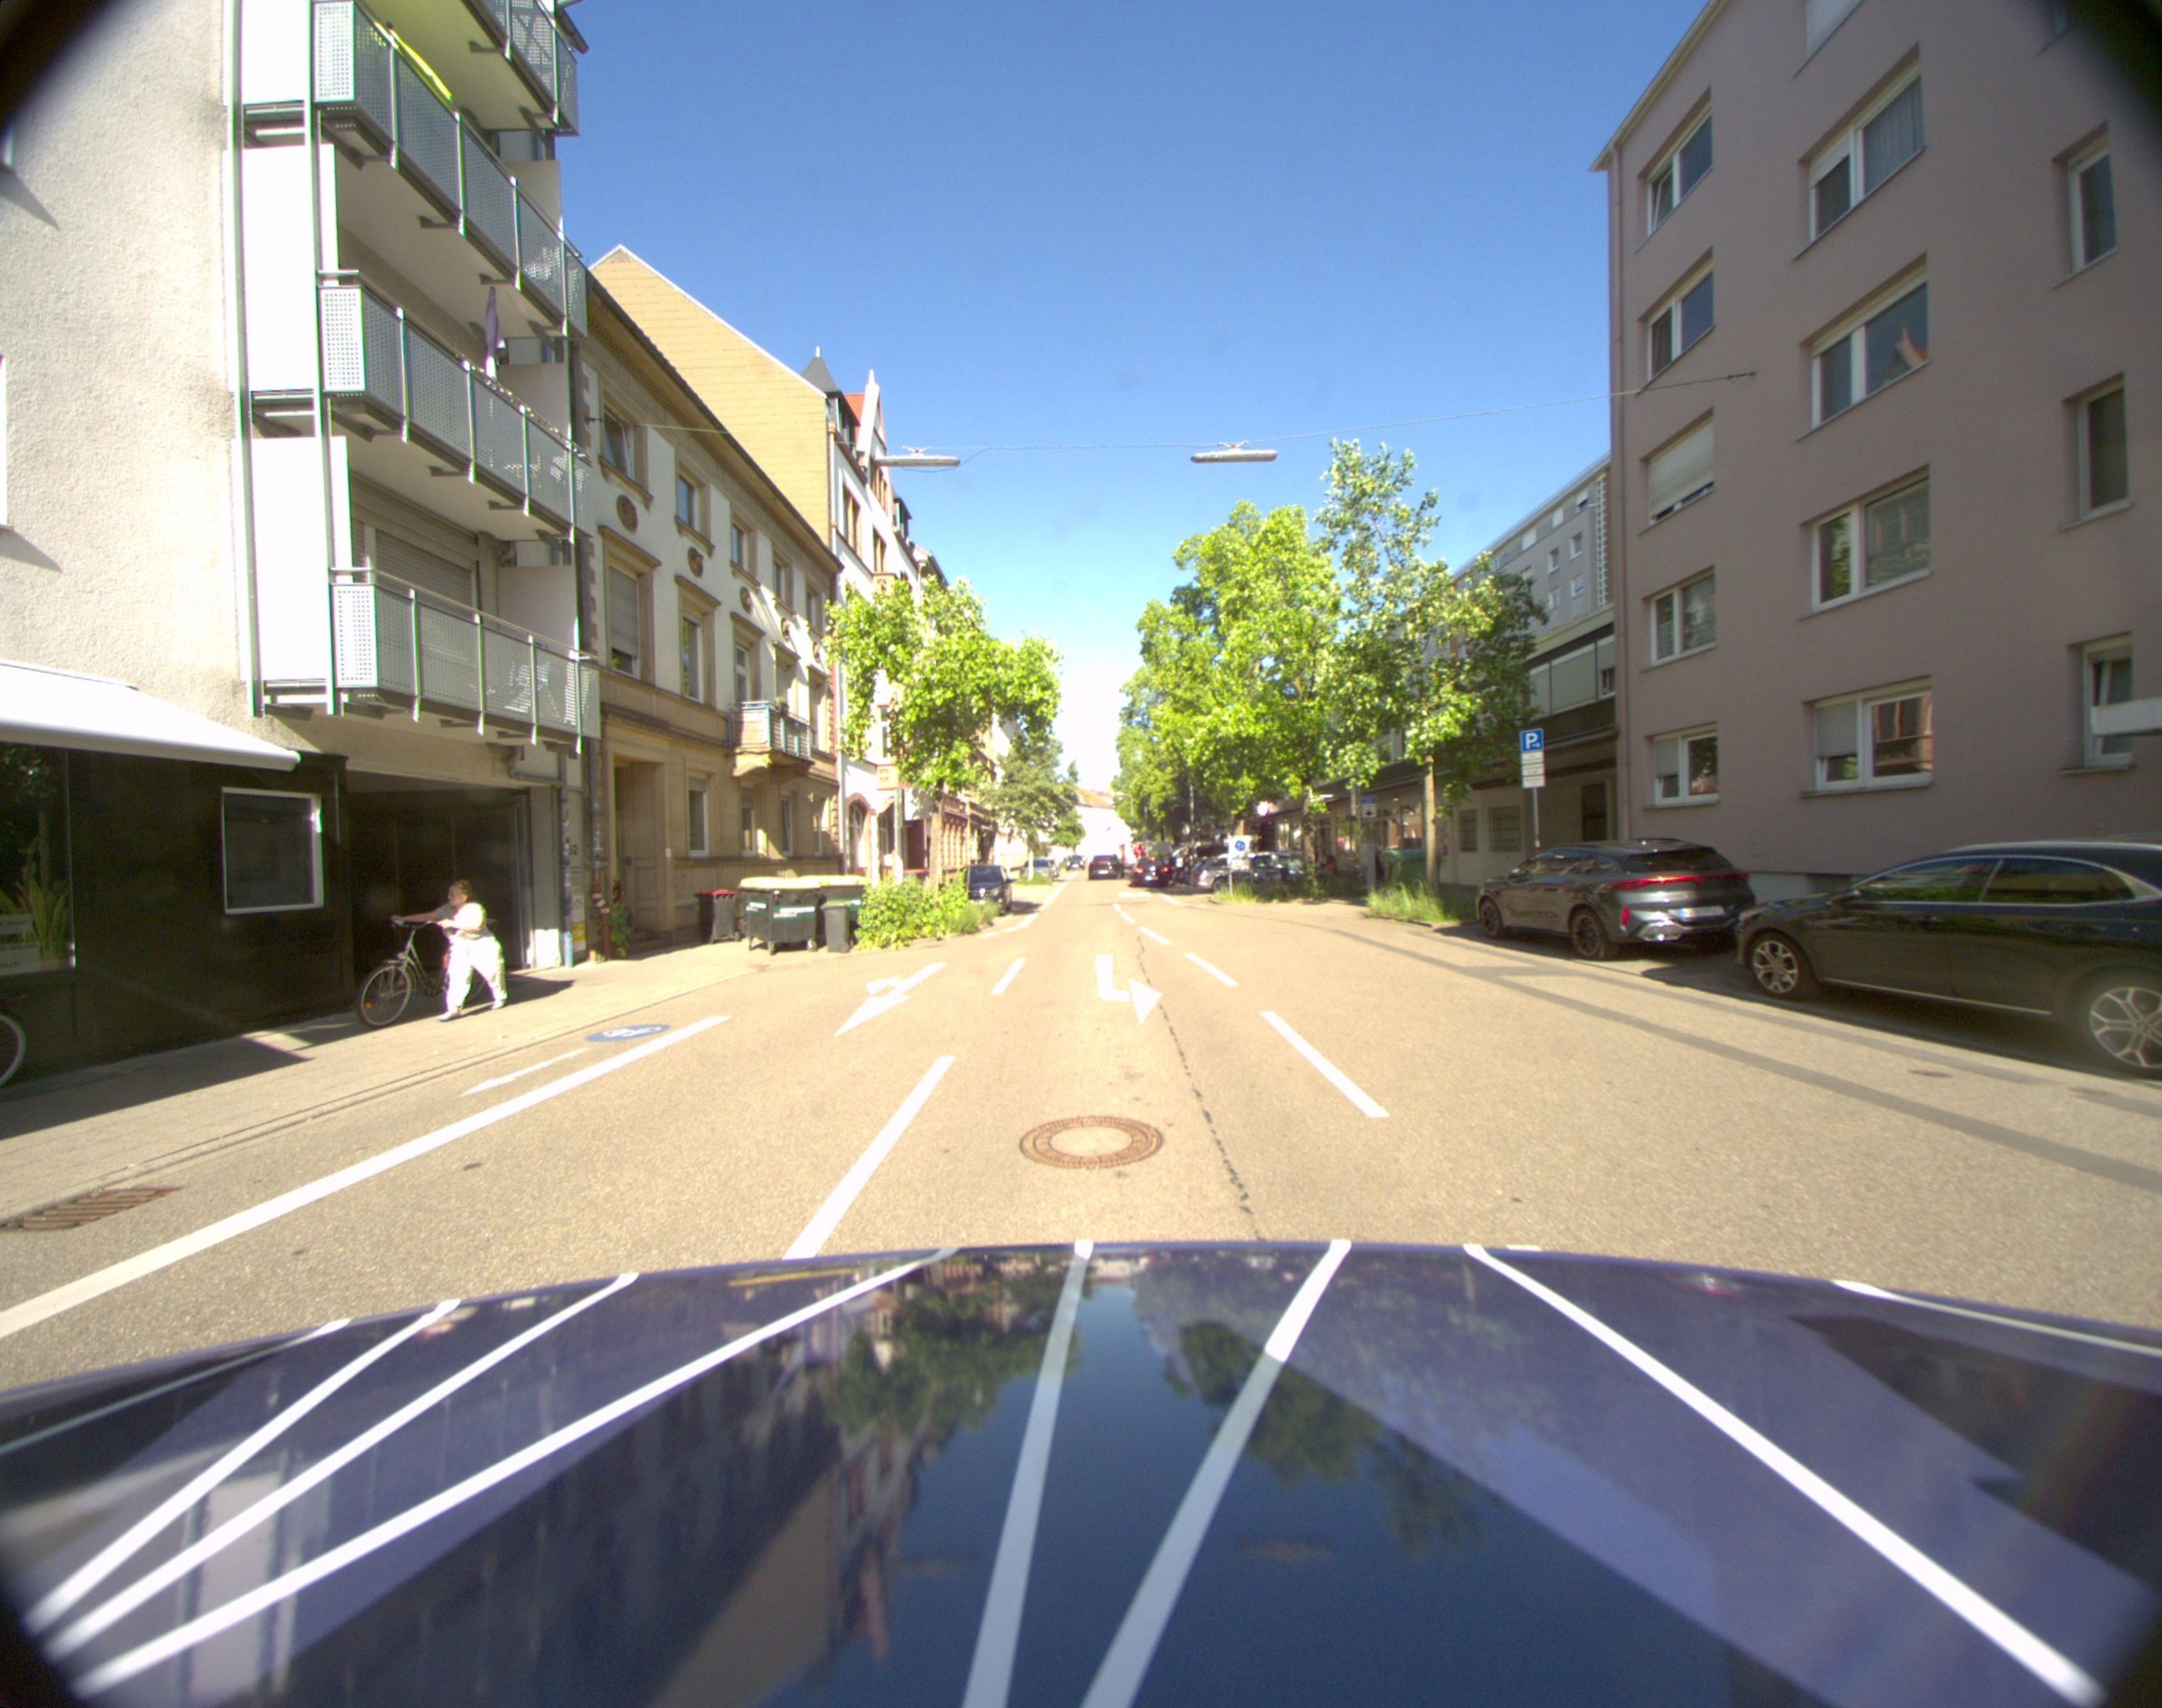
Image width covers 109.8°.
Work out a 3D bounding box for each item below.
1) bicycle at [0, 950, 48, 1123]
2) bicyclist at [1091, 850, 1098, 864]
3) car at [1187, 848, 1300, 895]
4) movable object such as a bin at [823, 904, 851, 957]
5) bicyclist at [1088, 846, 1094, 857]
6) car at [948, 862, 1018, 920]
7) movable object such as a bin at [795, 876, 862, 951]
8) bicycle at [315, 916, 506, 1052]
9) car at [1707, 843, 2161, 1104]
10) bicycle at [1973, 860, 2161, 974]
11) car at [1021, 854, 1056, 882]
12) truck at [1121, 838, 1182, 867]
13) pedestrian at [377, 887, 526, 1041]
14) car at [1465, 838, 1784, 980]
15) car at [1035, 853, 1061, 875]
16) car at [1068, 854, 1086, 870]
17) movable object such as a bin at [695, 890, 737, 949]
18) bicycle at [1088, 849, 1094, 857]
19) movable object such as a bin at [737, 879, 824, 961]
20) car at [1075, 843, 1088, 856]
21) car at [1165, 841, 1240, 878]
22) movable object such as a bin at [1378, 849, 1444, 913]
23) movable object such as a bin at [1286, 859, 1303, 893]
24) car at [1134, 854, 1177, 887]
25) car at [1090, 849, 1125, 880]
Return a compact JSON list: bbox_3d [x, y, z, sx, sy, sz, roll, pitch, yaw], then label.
[{"bbox_3d":[-7.717,1.287,4.600,0.402,1.171,1.792,-2,0,2],"label":"bicycle"},{"bbox_3d":[1.343,0.292,74.998,0.609,1.338,1.018,-2,0,0],"label":"bicyclist"},{"bbox_3d":[6.267,0.663,29.740,3.996,1.665,2.000,-2,1,1],"label":"car"},{"bbox_3d":[-4.493,1.397,14.024,0.401,0.916,0.484,0,2,-7],"label":"movable object such as a bin"},{"bbox_3d":[1.398,-0.371,106.873,0.748,1.588,0.613,-3,1,1],"label":"bicyclist"},{"bbox_3d":[-2.834,1.032,22.491,1.551,1.483,3.351,-2,0,1],"label":"car"},{"bbox_3d":[-4.994,1.137,14.992,0.960,1.341,1.066,-1,2,-37],"label":"movable object such as a bin"},{"bbox_3d":[-7.050,1.304,8.109,0.402,1.126,1.792,2,1,2],"label":"bicycle"},{"bbox_3d":[7.553,0.717,5.979,1.821,1.499,4.246,-4,0,3],"label":"car"},{"bbox_3d":[10.811,0.628,8.198,0.391,1.070,1.650,-6,0,2],"label":"bicycle"},{"bbox_3d":[-2.475,0.803,45.013,1.759,1.492,3.949,-2,0,1],"label":"car"},{"bbox_3d":[6.539,-0.143,70.828,5.321,2.581,1.998,-2,1,-9],"label":"truck"},{"bbox_3d":[-6.915,1.171,8.397,0.825,1.529,0.946,2,1,1],"label":"pedestrian"},{"bbox_3d":[7.659,0.659,11.319,1.821,1.583,4.141,-5,0,3],"label":"car"},{"bbox_3d":[-2.306,0.698,54.327,1.653,1.483,3.290,-2,0,1],"label":"car"},{"bbox_3d":[-0.383,0.791,77.198,1.653,1.447,3.290,-2,0,1],"label":"car"},{"bbox_3d":[-7.228,1.285,15.044,0.615,1.075,0.568,2,3,43],"label":"movable object such as a bin"},{"bbox_3d":[1.410,-0.170,106.868,0.778,1.139,2.259,-3,1,1],"label":"bicycle"},{"bbox_3d":[-5.504,1.173,13.918,1.212,1.318,1.052,2,3,43],"label":"movable object such as a bin"},{"bbox_3d":[0.030,-0.786,125.732,1.998,2.002,4.000,-2,0,2],"label":"car"},{"bbox_3d":[6.969,0.303,43.845,3.996,2.020,2.000,-2,1,1],"label":"car"},{"bbox_3d":[8.249,0.656,19.052,1.247,1.536,1.019,-2,1,6],"label":"movable object such as a bin"},{"bbox_3d":[7.787,0.810,27.738,0.488,1.218,0.409,-2,1,1],"label":"movable object such as a bin"},{"bbox_3d":[3.563,0.766,36.938,1.867,1.455,4.001,-2,0,3],"label":"car"},{"bbox_3d":[1.640,0.635,47.677,1.994,1.599,4.260,-3,3,1],"label":"car"}]
